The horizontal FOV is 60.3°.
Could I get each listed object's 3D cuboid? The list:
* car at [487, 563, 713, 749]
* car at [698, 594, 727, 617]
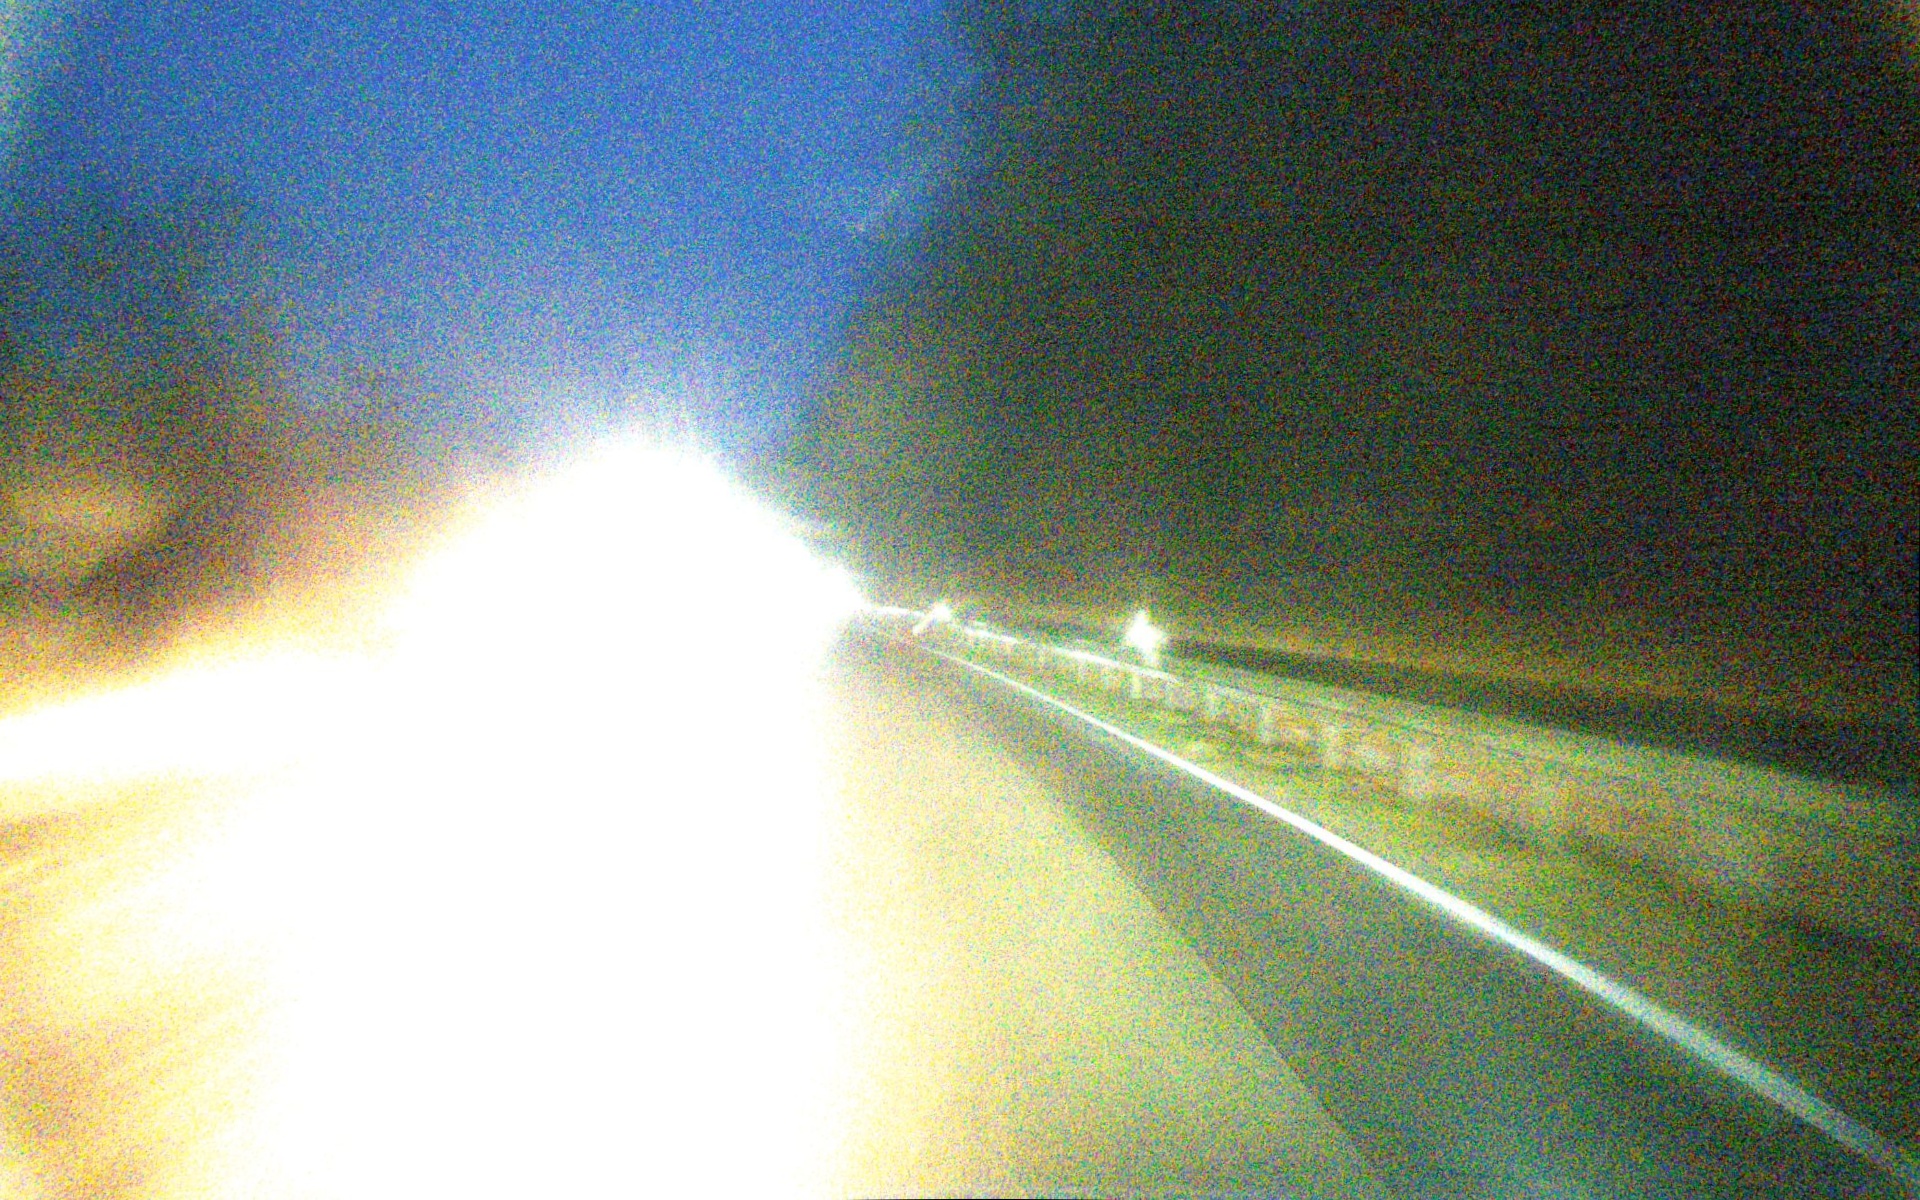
[{"bbox_3d":[-4.155,0.628,19.751,1.954,1.959,3.997,1,-1,-3],"label":"car"},{"bbox_3d":[-17.394,0.388,116.358,1.956,1.498,3.829,1,0,-9],"label":"car"}]
